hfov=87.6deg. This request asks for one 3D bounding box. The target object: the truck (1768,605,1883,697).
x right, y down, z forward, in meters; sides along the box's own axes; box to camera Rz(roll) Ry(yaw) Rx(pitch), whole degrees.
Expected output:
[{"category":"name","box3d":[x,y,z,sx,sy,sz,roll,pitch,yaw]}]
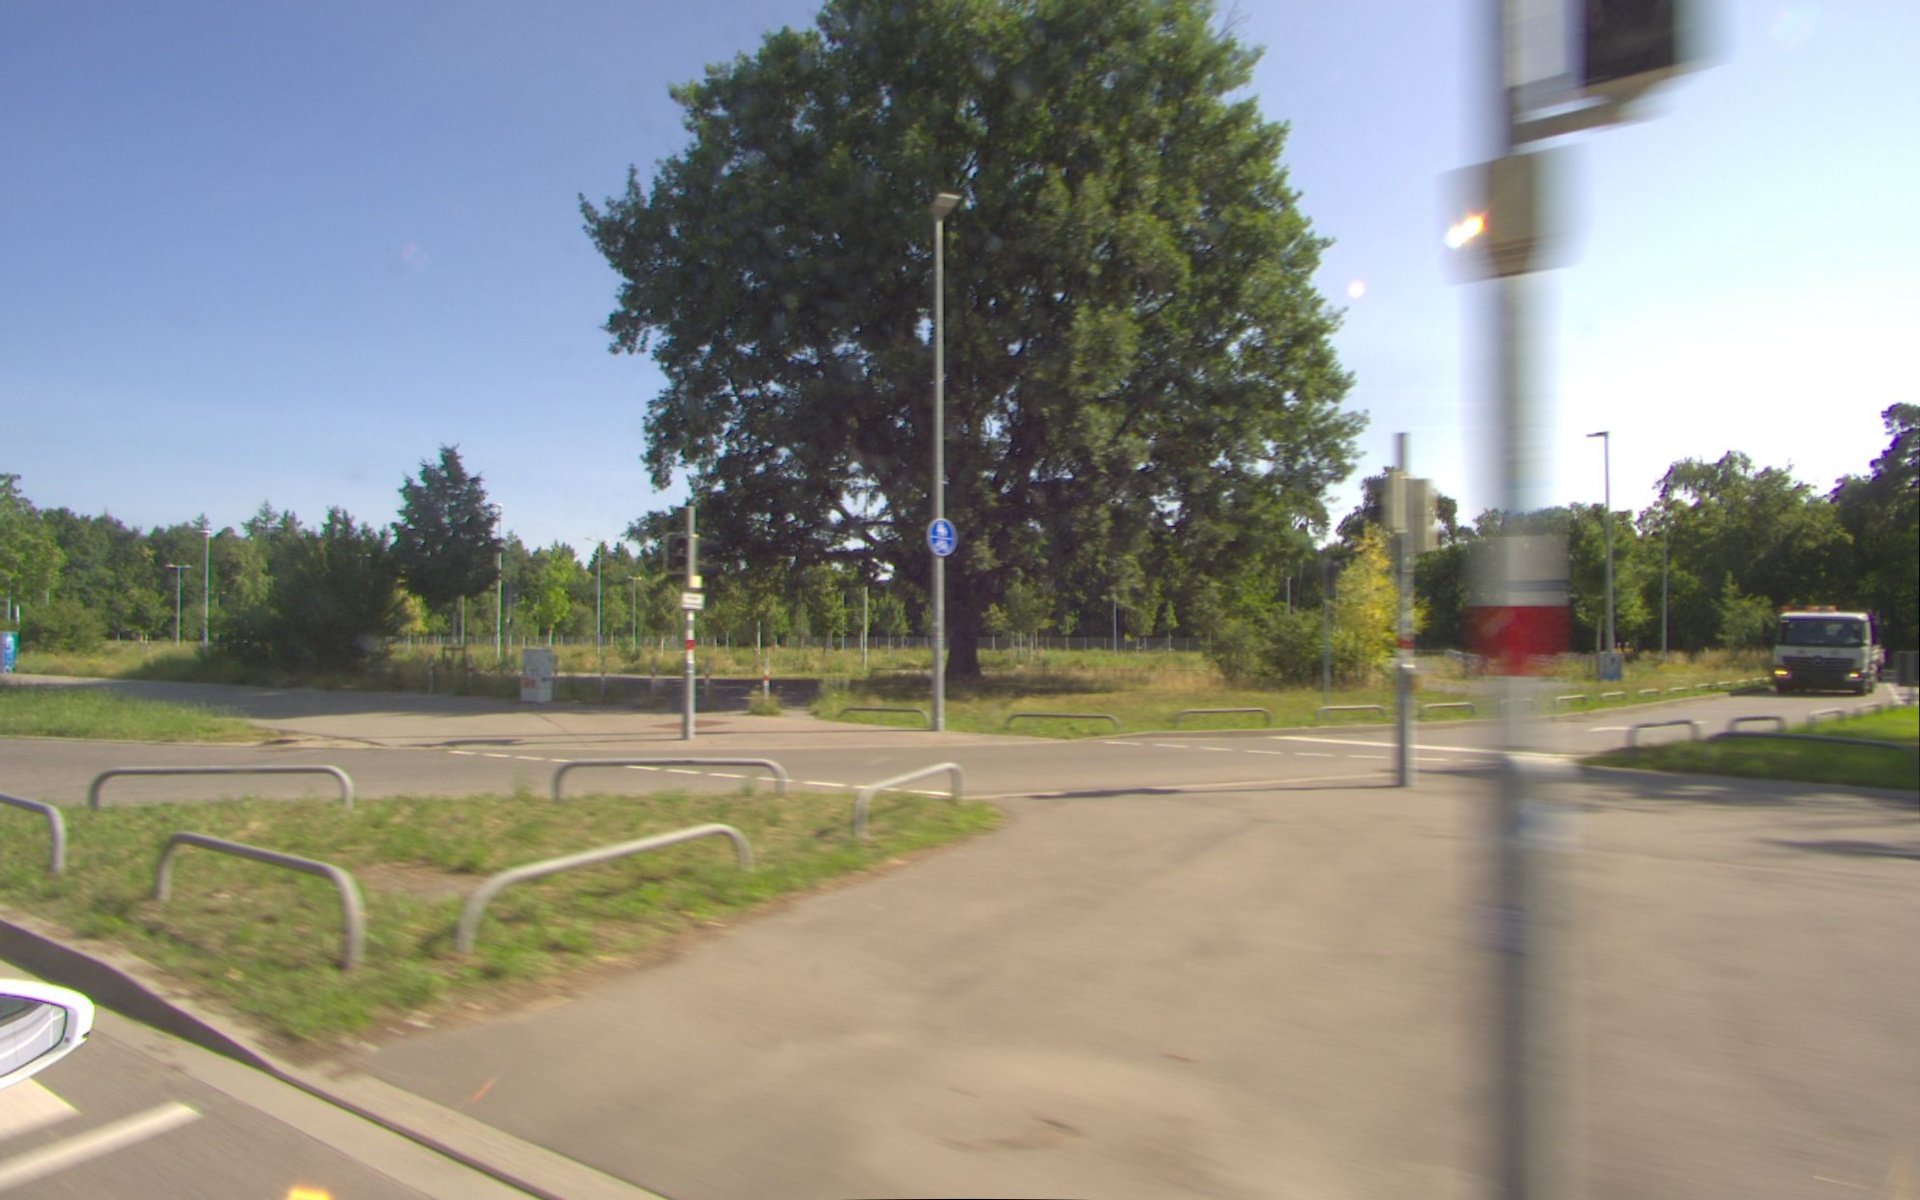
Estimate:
[{"category":"truck","box3d":[28.728,1.697,33.154,2.651,2.751,6.152,-1,-3,43]}]

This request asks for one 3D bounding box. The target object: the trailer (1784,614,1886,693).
[{"category":"trailer","box3d":[33.156,2.013,37.873,2.675,2.721,6.832,-1,-3,43]}]
